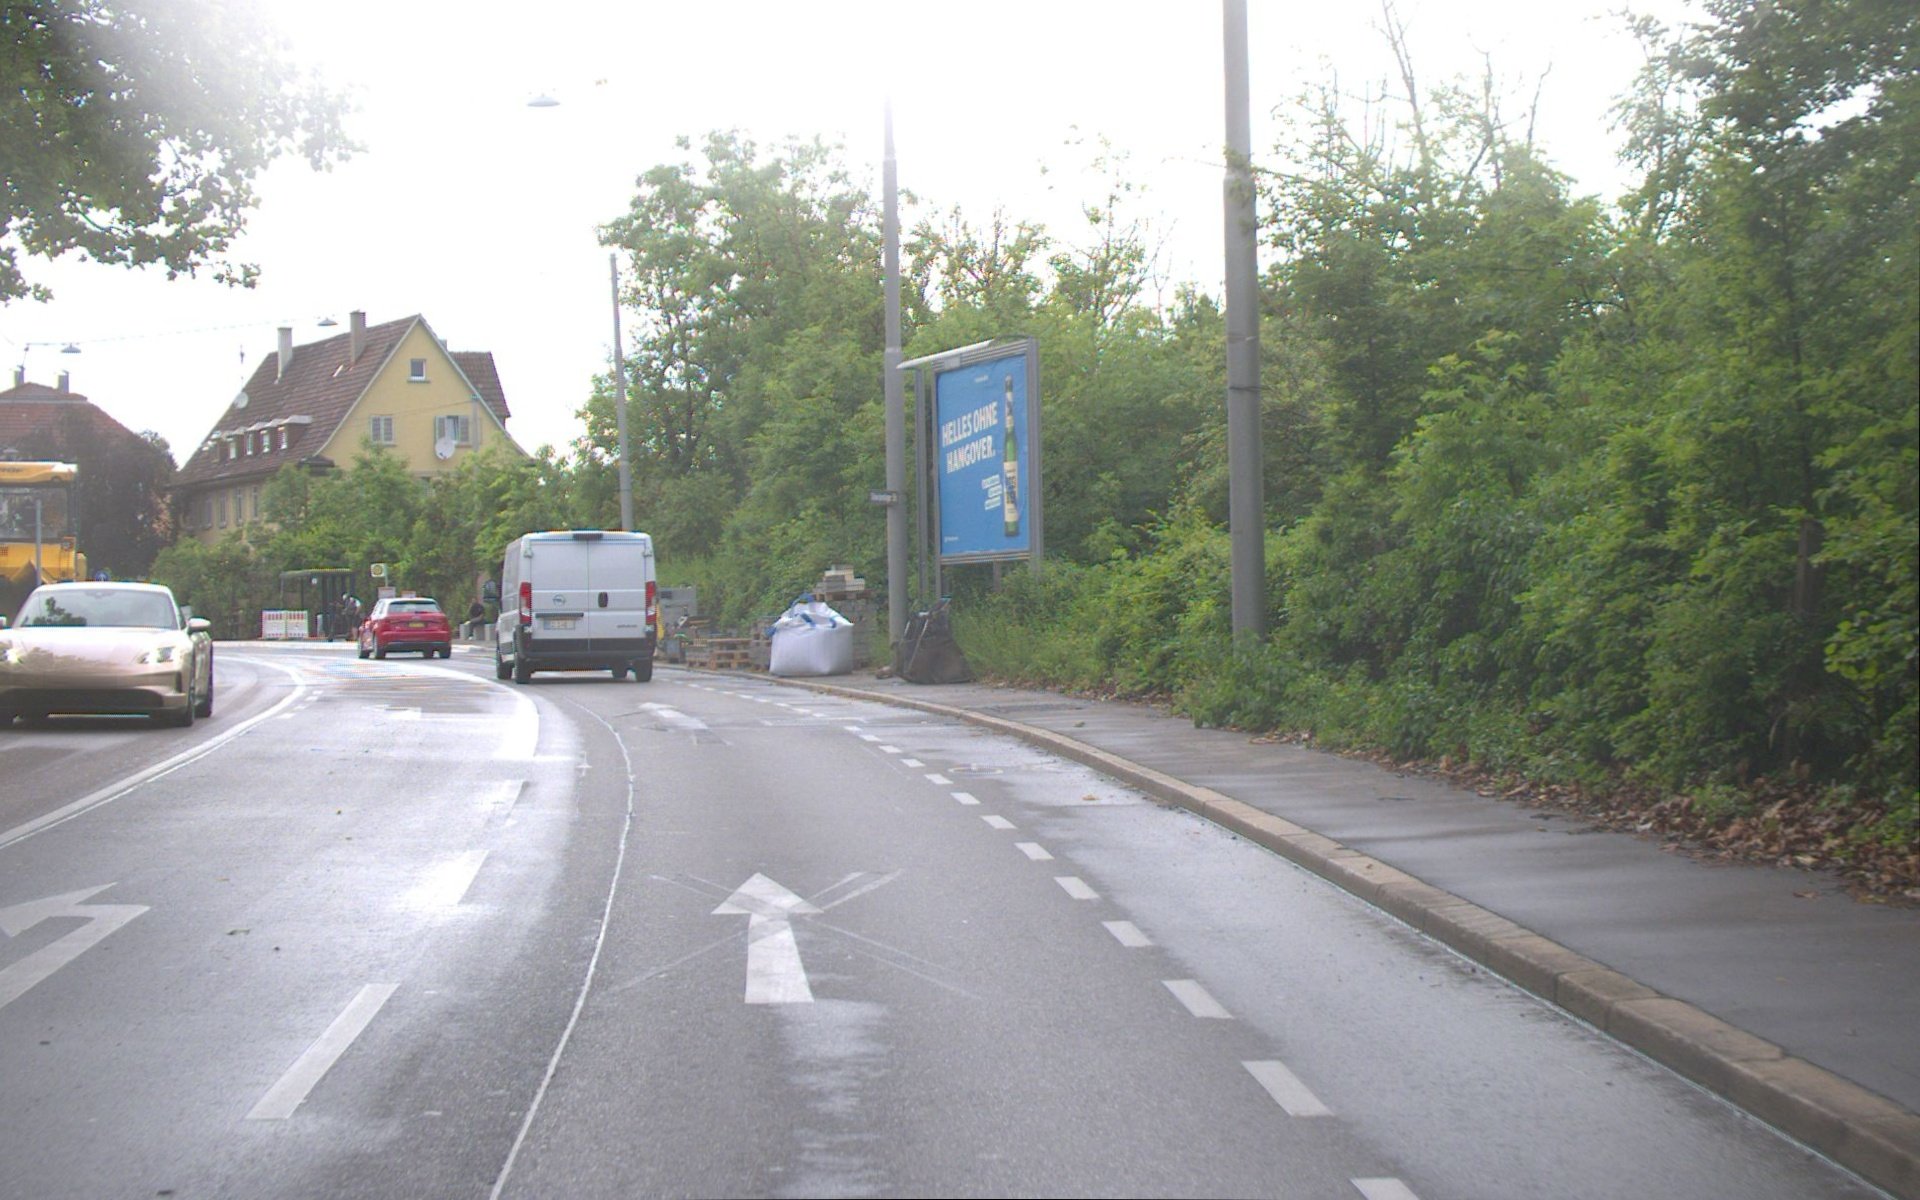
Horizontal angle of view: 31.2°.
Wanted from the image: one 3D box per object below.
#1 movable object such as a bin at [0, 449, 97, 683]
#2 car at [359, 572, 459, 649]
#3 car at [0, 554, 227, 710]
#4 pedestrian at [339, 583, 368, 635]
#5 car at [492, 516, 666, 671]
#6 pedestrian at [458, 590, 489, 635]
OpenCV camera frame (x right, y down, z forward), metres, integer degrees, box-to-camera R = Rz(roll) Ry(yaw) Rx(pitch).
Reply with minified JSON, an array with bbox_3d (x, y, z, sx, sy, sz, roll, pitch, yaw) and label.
[{"bbox_3d":[-16.579,-0.649,59.662,2.773,3.842,5.989,1,1,-11],"label":"movable object such as a bin"},{"bbox_3d":[-13.013,0.217,80.995,2.237,1.651,4.715,1,1,-10],"label":"car"},{"bbox_3d":[-8.455,0.269,33.969,2.070,1.348,4.715,1,1,-8],"label":"car"},{"bbox_3d":[-20.486,0.311,116.166,0.905,1.725,0.654,1,1,-12],"label":"pedestrian"},{"bbox_3d":[-5.850,-0.147,52.344,2.237,2.205,4.715,1,1,-11],"label":"car"},{"bbox_3d":[-15.343,0.390,108.414,0.878,1.363,1.066,1,1,-13],"label":"pedestrian"}]
